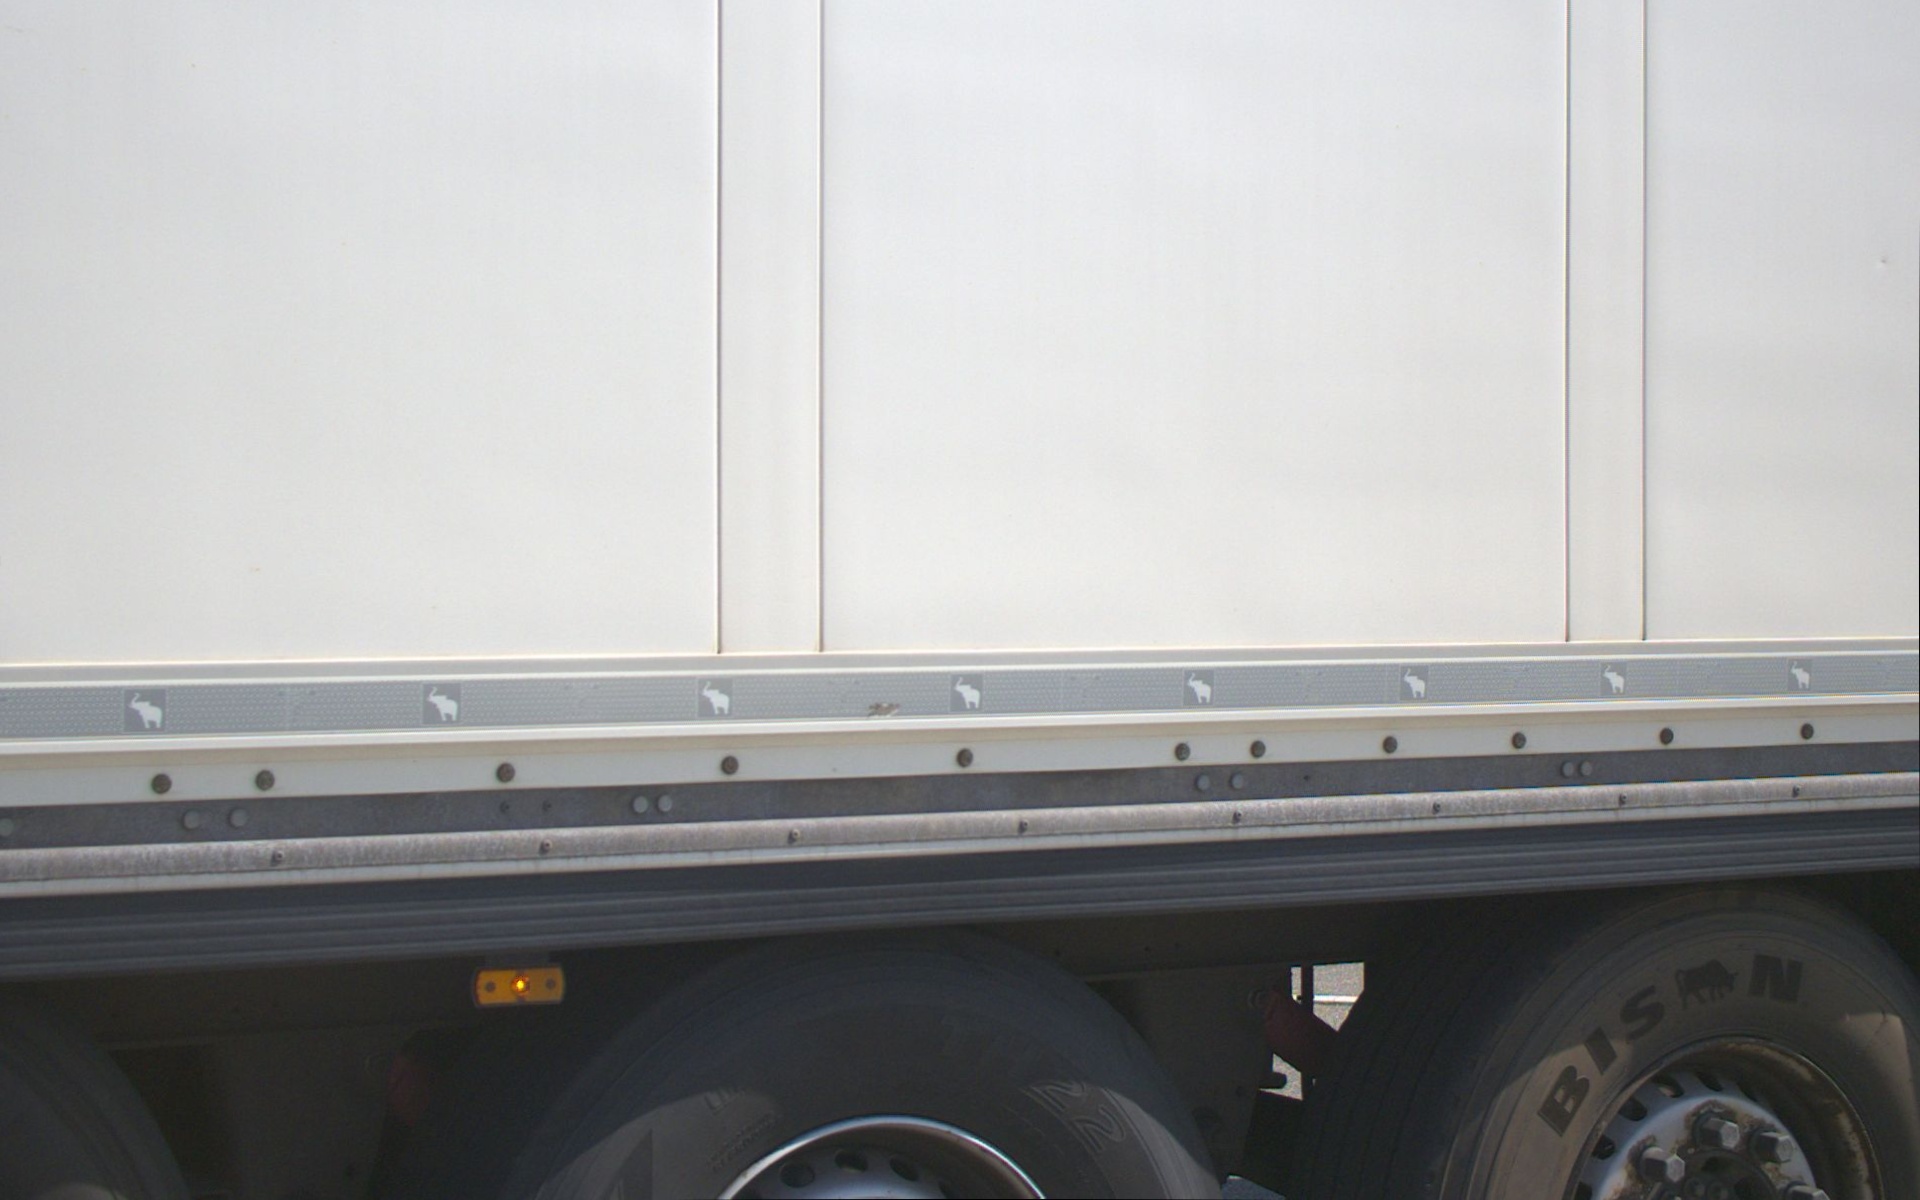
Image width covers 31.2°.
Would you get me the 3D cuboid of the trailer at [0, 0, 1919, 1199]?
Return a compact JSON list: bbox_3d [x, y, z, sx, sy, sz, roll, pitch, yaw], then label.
[{"bbox_3d":[-2.659,-0.686,3.939,13.933,4.151,2.897,0,1,-28],"label":"trailer"}]
